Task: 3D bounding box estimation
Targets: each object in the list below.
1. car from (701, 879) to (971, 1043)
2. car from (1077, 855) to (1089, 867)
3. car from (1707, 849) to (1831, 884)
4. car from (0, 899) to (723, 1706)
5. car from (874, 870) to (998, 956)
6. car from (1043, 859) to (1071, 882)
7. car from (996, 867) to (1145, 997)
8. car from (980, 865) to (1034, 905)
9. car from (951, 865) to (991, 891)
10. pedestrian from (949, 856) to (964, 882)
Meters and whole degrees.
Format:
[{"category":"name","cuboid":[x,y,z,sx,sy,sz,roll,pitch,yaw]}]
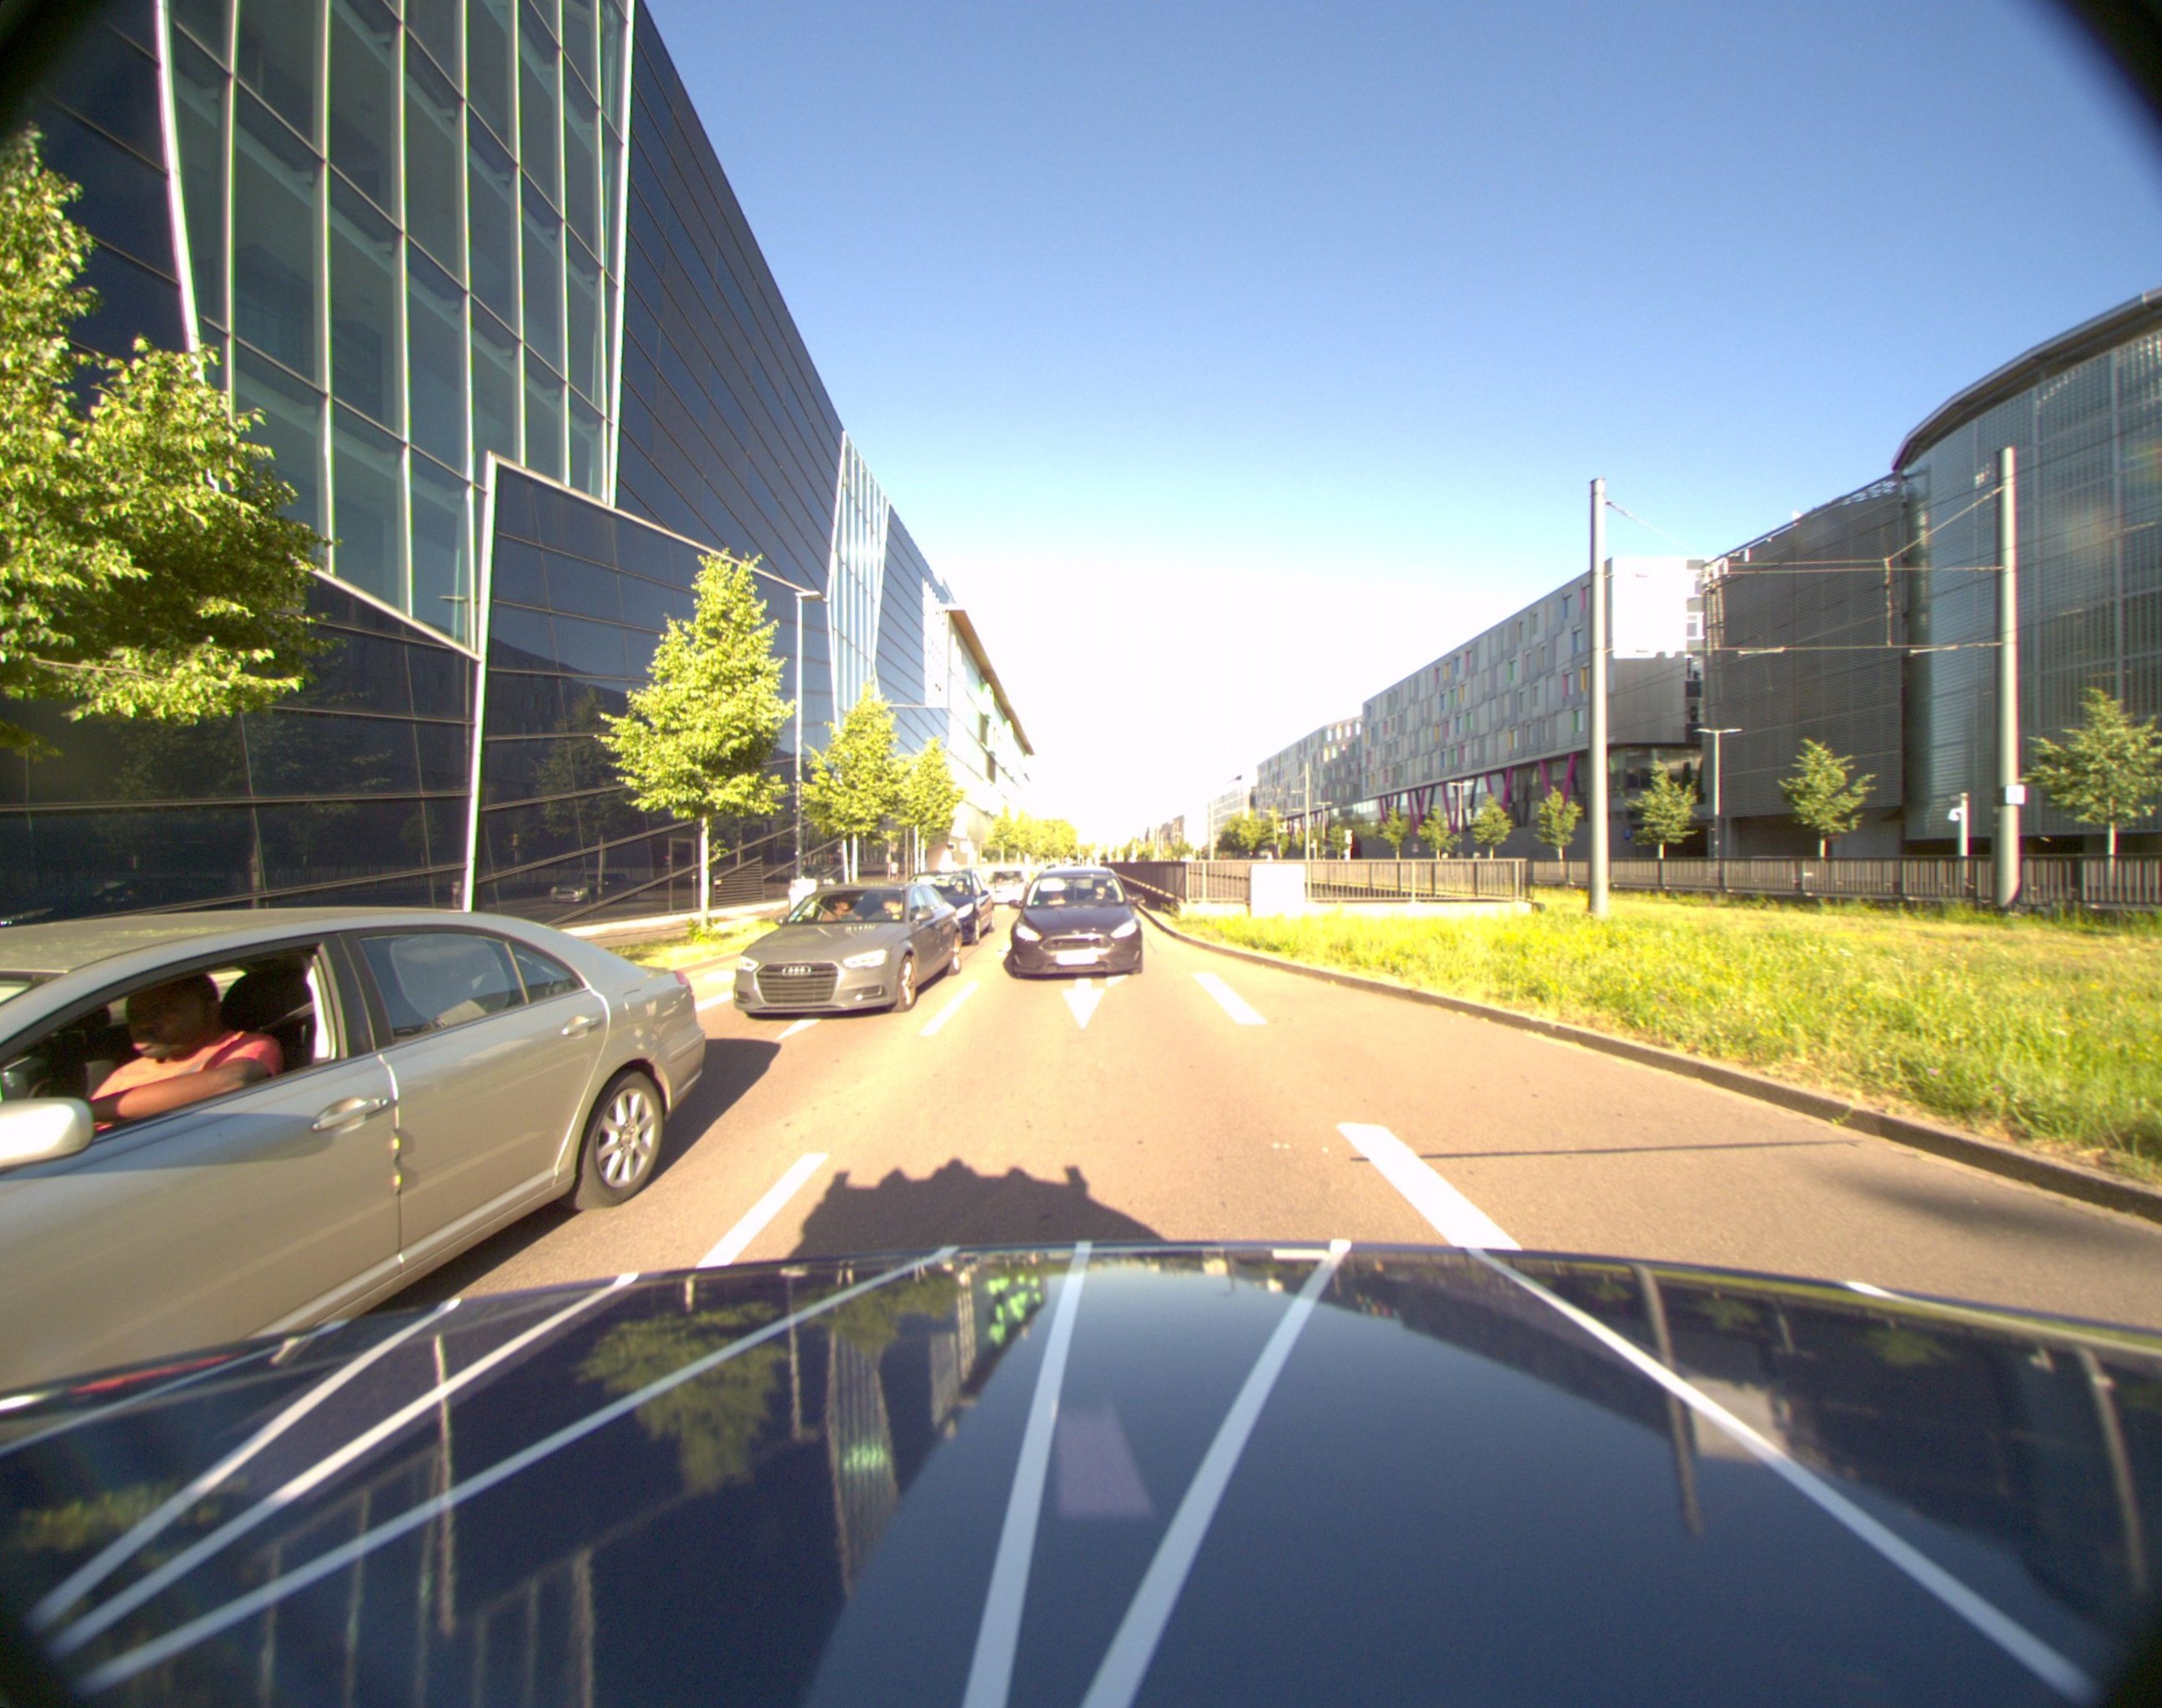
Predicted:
[{"category":"car","cuboid":[-2.661,1.097,9.412,1.750,1.384,4.265,-2,0,3]},{"category":"car","cuboid":[0.324,1.205,135.922,1.998,2.002,4.000,-2,0,1]},{"category":"car","cuboid":[31.843,0.572,35.358,1.998,1.492,4.244,-1,0,1]},{"category":"car","cuboid":[-3.072,1.014,2.179,1.750,1.473,4.629,-1,0,2]},{"category":"car","cuboid":[-2.867,1.125,15.893,1.753,1.469,3.972,-2,0,0]},{"category":"car","cuboid":[-1.726,1.195,56.720,1.907,1.612,4.000,0,0,1]},{"category":"car","cuboid":[-0.106,1.006,11.641,1.787,1.499,4.590,-2,0,0]},{"category":"car","cuboid":[-2.925,1.199,30.645,1.753,1.469,3.418,-2,0,0]},{"category":"car","cuboid":[-6.893,1.486,47.987,1.740,1.489,4.715,1,0,0]},{"category":"pedestrian","cuboid":[-8.941,1.105,54.706,0.828,1.814,0.905,3,0,0]}]
